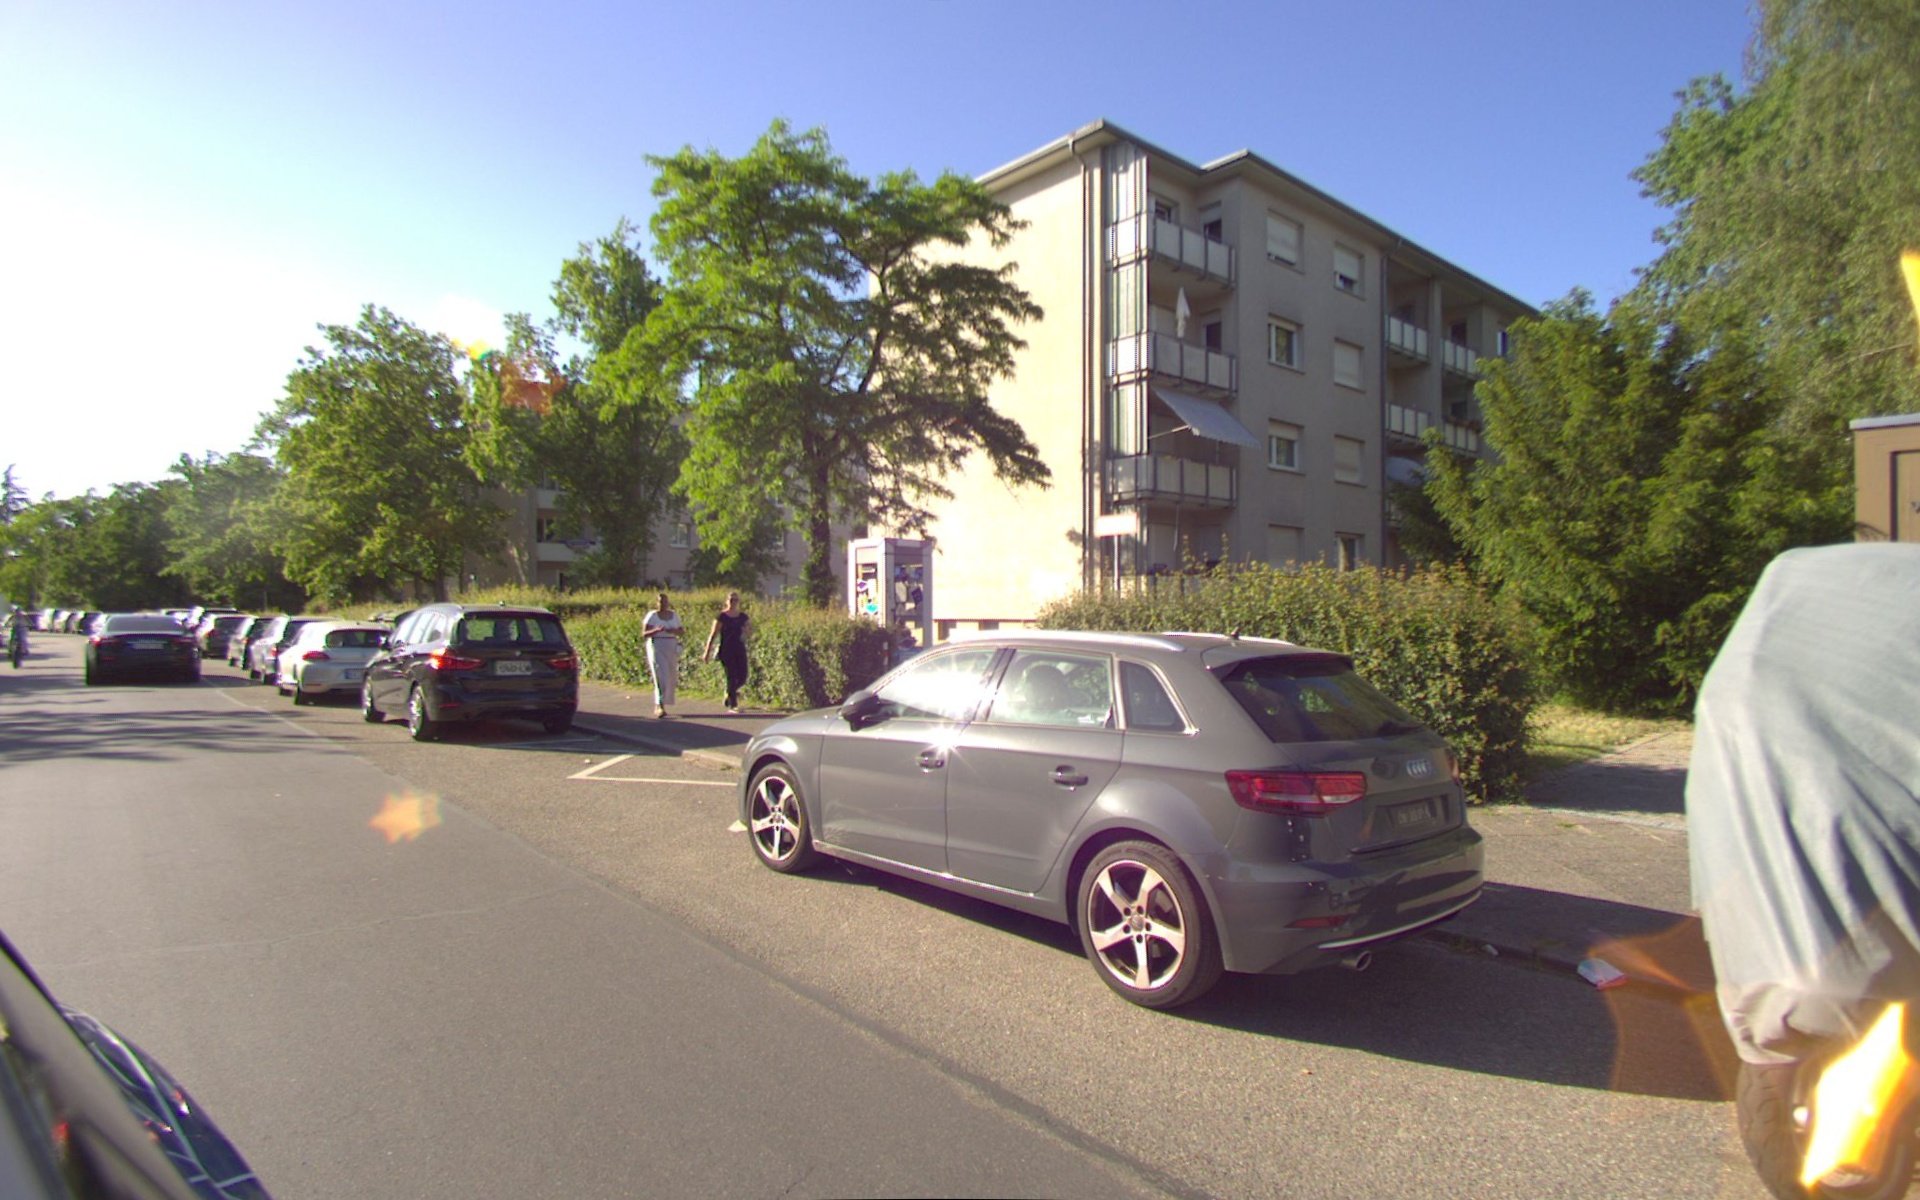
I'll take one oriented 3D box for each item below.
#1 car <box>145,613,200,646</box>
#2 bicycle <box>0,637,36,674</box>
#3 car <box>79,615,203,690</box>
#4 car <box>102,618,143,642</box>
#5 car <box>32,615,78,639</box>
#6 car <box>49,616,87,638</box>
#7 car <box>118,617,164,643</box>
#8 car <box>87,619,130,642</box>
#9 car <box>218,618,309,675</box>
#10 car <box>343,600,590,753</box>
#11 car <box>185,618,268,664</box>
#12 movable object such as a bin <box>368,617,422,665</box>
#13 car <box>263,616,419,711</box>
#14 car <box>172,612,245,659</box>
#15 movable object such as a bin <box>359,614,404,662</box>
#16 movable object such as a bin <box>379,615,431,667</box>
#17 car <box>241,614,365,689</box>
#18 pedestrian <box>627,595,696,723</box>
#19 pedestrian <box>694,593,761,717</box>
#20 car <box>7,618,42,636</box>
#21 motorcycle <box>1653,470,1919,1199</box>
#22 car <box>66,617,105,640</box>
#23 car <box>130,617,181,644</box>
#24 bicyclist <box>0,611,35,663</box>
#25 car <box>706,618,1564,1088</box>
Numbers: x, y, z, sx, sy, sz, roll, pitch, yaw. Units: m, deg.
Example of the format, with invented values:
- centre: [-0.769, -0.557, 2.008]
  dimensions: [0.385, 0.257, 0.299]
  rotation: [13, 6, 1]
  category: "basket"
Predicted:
- centre: [-39.938, 1.482, 51.290]
  dimensions: [1.785, 1.618, 4.436]
  rotation: [2, -2, -43]
  category: "car"
- centre: [-25.764, 1.499, 27.565]
  dimensions: [0.811, 0.908, 2.206]
  rotation: [0, -1, -40]
  category: "bicycle"
- centre: [-18.138, 1.084, 22.336]
  dimensions: [1.887, 1.488, 4.576]
  rotation: [1, -2, -42]
  category: "car"
- centre: [-53.545, 1.885, 64.714]
  dimensions: [3.106, 1.490, 1.635]
  rotation: [-1, -2, 44]
  category: "car"
- centre: [-72.134, 2.154, 80.628]
  dimensions: [5.433, 1.883, 1.861]
  rotation: [-1, -2, 39]
  category: "car"
- centre: [-67.751, 2.042, 76.860]
  dimensions: [3.688, 1.643, 1.636]
  rotation: [-1, -2, 41]
  category: "car"
- centre: [-48.423, 1.741, 59.796]
  dimensions: [3.880, 1.490, 1.612]
  rotation: [-1, -2, 44]
  category: "car"
- centre: [-57.356, 2.029, 68.131]
  dimensions: [3.734, 1.490, 1.636]
  rotation: [-1, -2, 41]
  category: "car"
- centre: [-19.570, 1.265, 28.388]
  dimensions: [1.628, 1.475, 3.500]
  rotation: [2, -2, -42]
  category: "car"
- centre: [-6.539, 0.893, 13.151]
  dimensions: [1.732, 1.648, 4.376]
  rotation: [3, -3, -41]
  category: "car"
- centre: [-24.709, 1.350, 34.024]
  dimensions: [1.733, 1.396, 4.680]
  rotation: [2, -2, -42]
  category: "car"
- centre: [-17.159, 1.224, 30.731]
  dimensions: [1.106, 1.376, 1.258]
  rotation: [-3, 2, -43]
  category: "movable object such as a bin"
- centre: [-11.075, 1.050, 17.979]
  dimensions: [1.732, 1.435, 4.218]
  rotation: [3, -2, -39]
  category: "car"
- centre: [-28.463, 1.324, 38.279]
  dimensions: [1.733, 1.681, 4.395]
  rotation: [2, -2, -42]
  category: "car"
- centre: [-18.100, 1.163, 31.652]
  dimensions: [0.884, 1.425, 1.328]
  rotation: [-3, 2, -43]
  category: "movable object such as a bin"
- centre: [-16.297, 1.172, 29.692]
  dimensions: [0.990, 1.425, 1.328]
  rotation: [-3, 2, -43]
  category: "movable object such as a bin"
- centre: [-14.841, 1.132, 22.733]
  dimensions: [1.732, 1.501, 4.909]
  rotation: [4, -4, -39]
  category: "car"
- centre: [-4.085, 0.783, 13.865]
  dimensions: [0.712, 1.692, 0.617]
  rotation: [0, -1, -42]
  category: "pedestrian"
- centre: [-3.272, 0.749, 14.262]
  dimensions: [0.712, 1.692, 0.601]
  rotation: [0, -1, -42]
  category: "pedestrian"
- centre: [-81.460, 2.362, 88.092]
  dimensions: [3.685, 1.579, 1.638]
  rotation: [-1, -2, 38]
  category: "car"
- centre: [2.791, 0.650, 2.888]
  dimensions: [2.230, 1.740, 0.933]
  rotation: [4, -3, -44]
  category: "motorcycle"
- centre: [-62.946, 2.041, 72.837]
  dimensions: [4.071, 1.643, 1.635]
  rotation: [-1, -2, 43]
  category: "car"
- centre: [-44.688, 1.688, 56.191]
  dimensions: [1.785, 1.490, 3.943]
  rotation: [2, -2, -44]
  category: "car"
- centre: [-25.711, 0.987, 27.508]
  dimensions: [0.800, 1.366, 1.093]
  rotation: [0, -1, -40]
  category: "bicyclist"
- centre: [0.493, 0.836, 5.298]
  dimensions: [1.732, 1.432, 4.275]
  rotation: [3, -3, -41]
  category: "car"
